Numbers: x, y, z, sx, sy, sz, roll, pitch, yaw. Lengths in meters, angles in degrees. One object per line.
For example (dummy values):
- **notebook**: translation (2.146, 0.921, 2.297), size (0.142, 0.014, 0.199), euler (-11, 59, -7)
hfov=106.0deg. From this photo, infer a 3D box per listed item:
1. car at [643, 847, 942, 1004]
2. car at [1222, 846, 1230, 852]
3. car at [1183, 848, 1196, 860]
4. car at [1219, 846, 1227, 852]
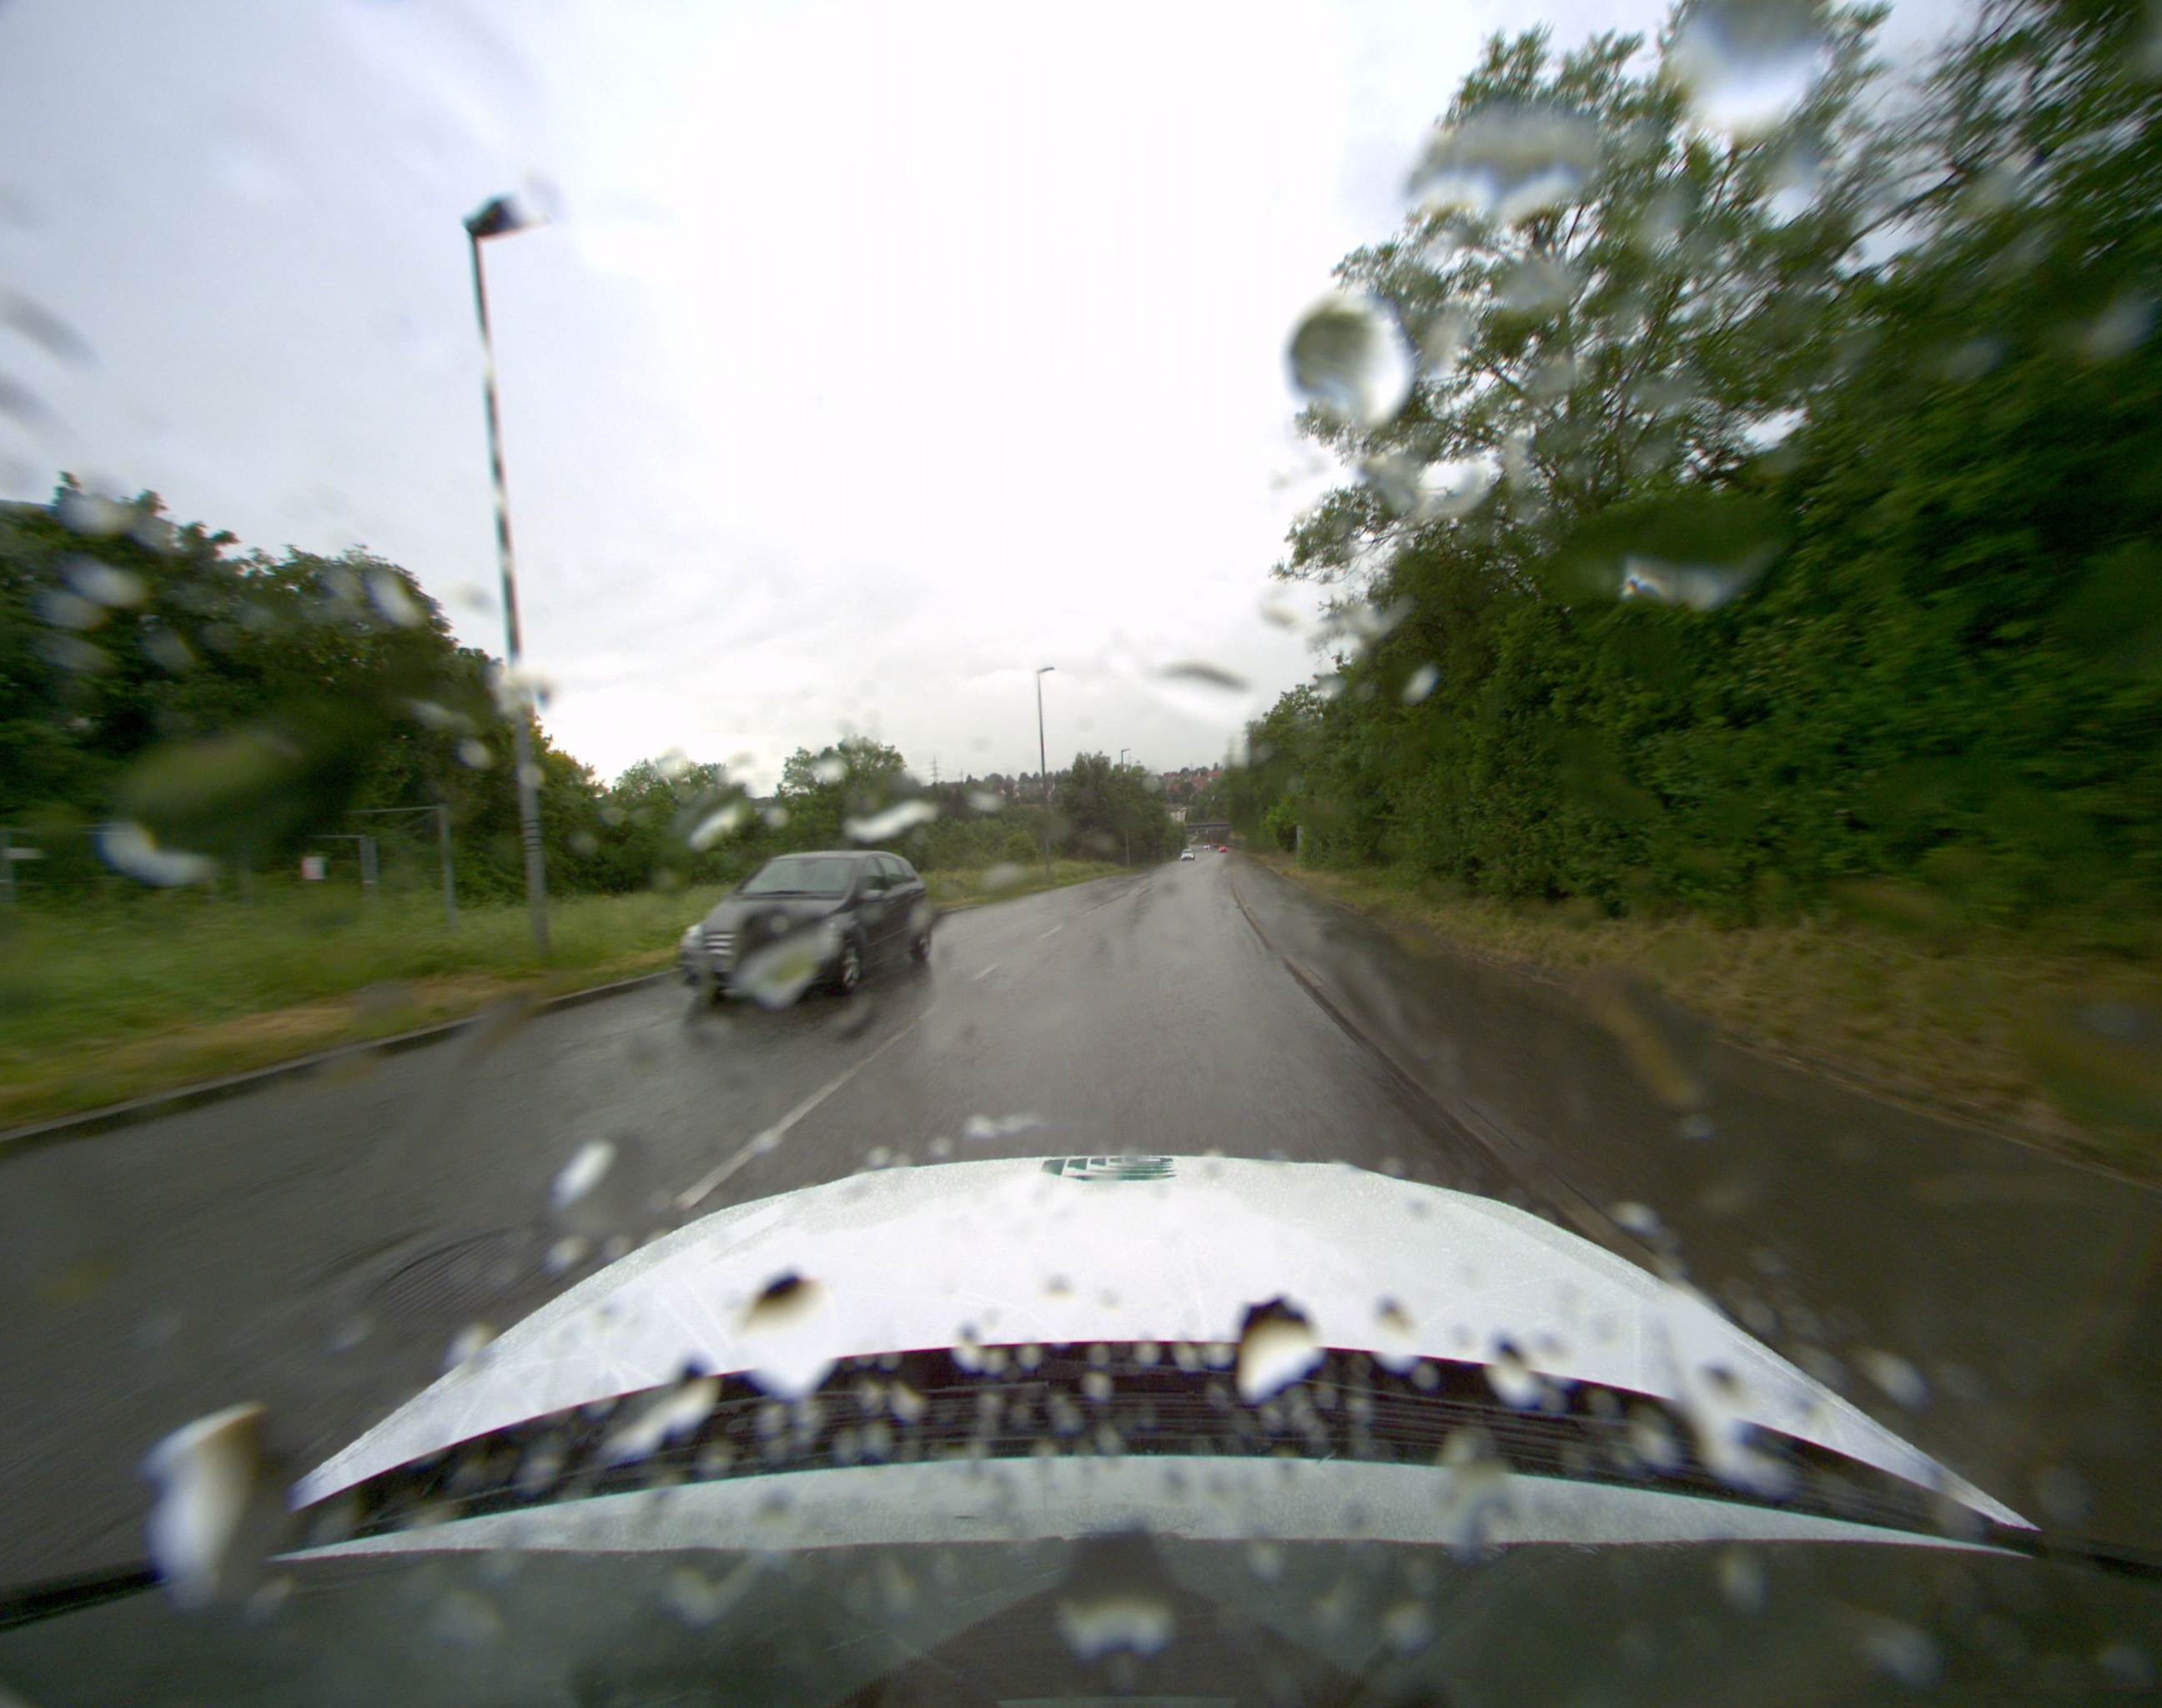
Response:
- **car**: translation (-3.246, 0.717, 10.226), size (1.855, 1.552, 4.273), euler (-1, 0, 6)
- **car**: translation (38.473, -1.243, 215.763), size (1.757, 1.380, 4.012), euler (-4, -1, 11)
- **car**: translation (14.303, -0.011, 107.654), size (1.630, 1.488, 3.461), euler (-4, -1, 7)
- **car**: translation (38.795, -1.279, 222.375), size (1.757, 1.563, 4.012), euler (-4, -1, 11)
